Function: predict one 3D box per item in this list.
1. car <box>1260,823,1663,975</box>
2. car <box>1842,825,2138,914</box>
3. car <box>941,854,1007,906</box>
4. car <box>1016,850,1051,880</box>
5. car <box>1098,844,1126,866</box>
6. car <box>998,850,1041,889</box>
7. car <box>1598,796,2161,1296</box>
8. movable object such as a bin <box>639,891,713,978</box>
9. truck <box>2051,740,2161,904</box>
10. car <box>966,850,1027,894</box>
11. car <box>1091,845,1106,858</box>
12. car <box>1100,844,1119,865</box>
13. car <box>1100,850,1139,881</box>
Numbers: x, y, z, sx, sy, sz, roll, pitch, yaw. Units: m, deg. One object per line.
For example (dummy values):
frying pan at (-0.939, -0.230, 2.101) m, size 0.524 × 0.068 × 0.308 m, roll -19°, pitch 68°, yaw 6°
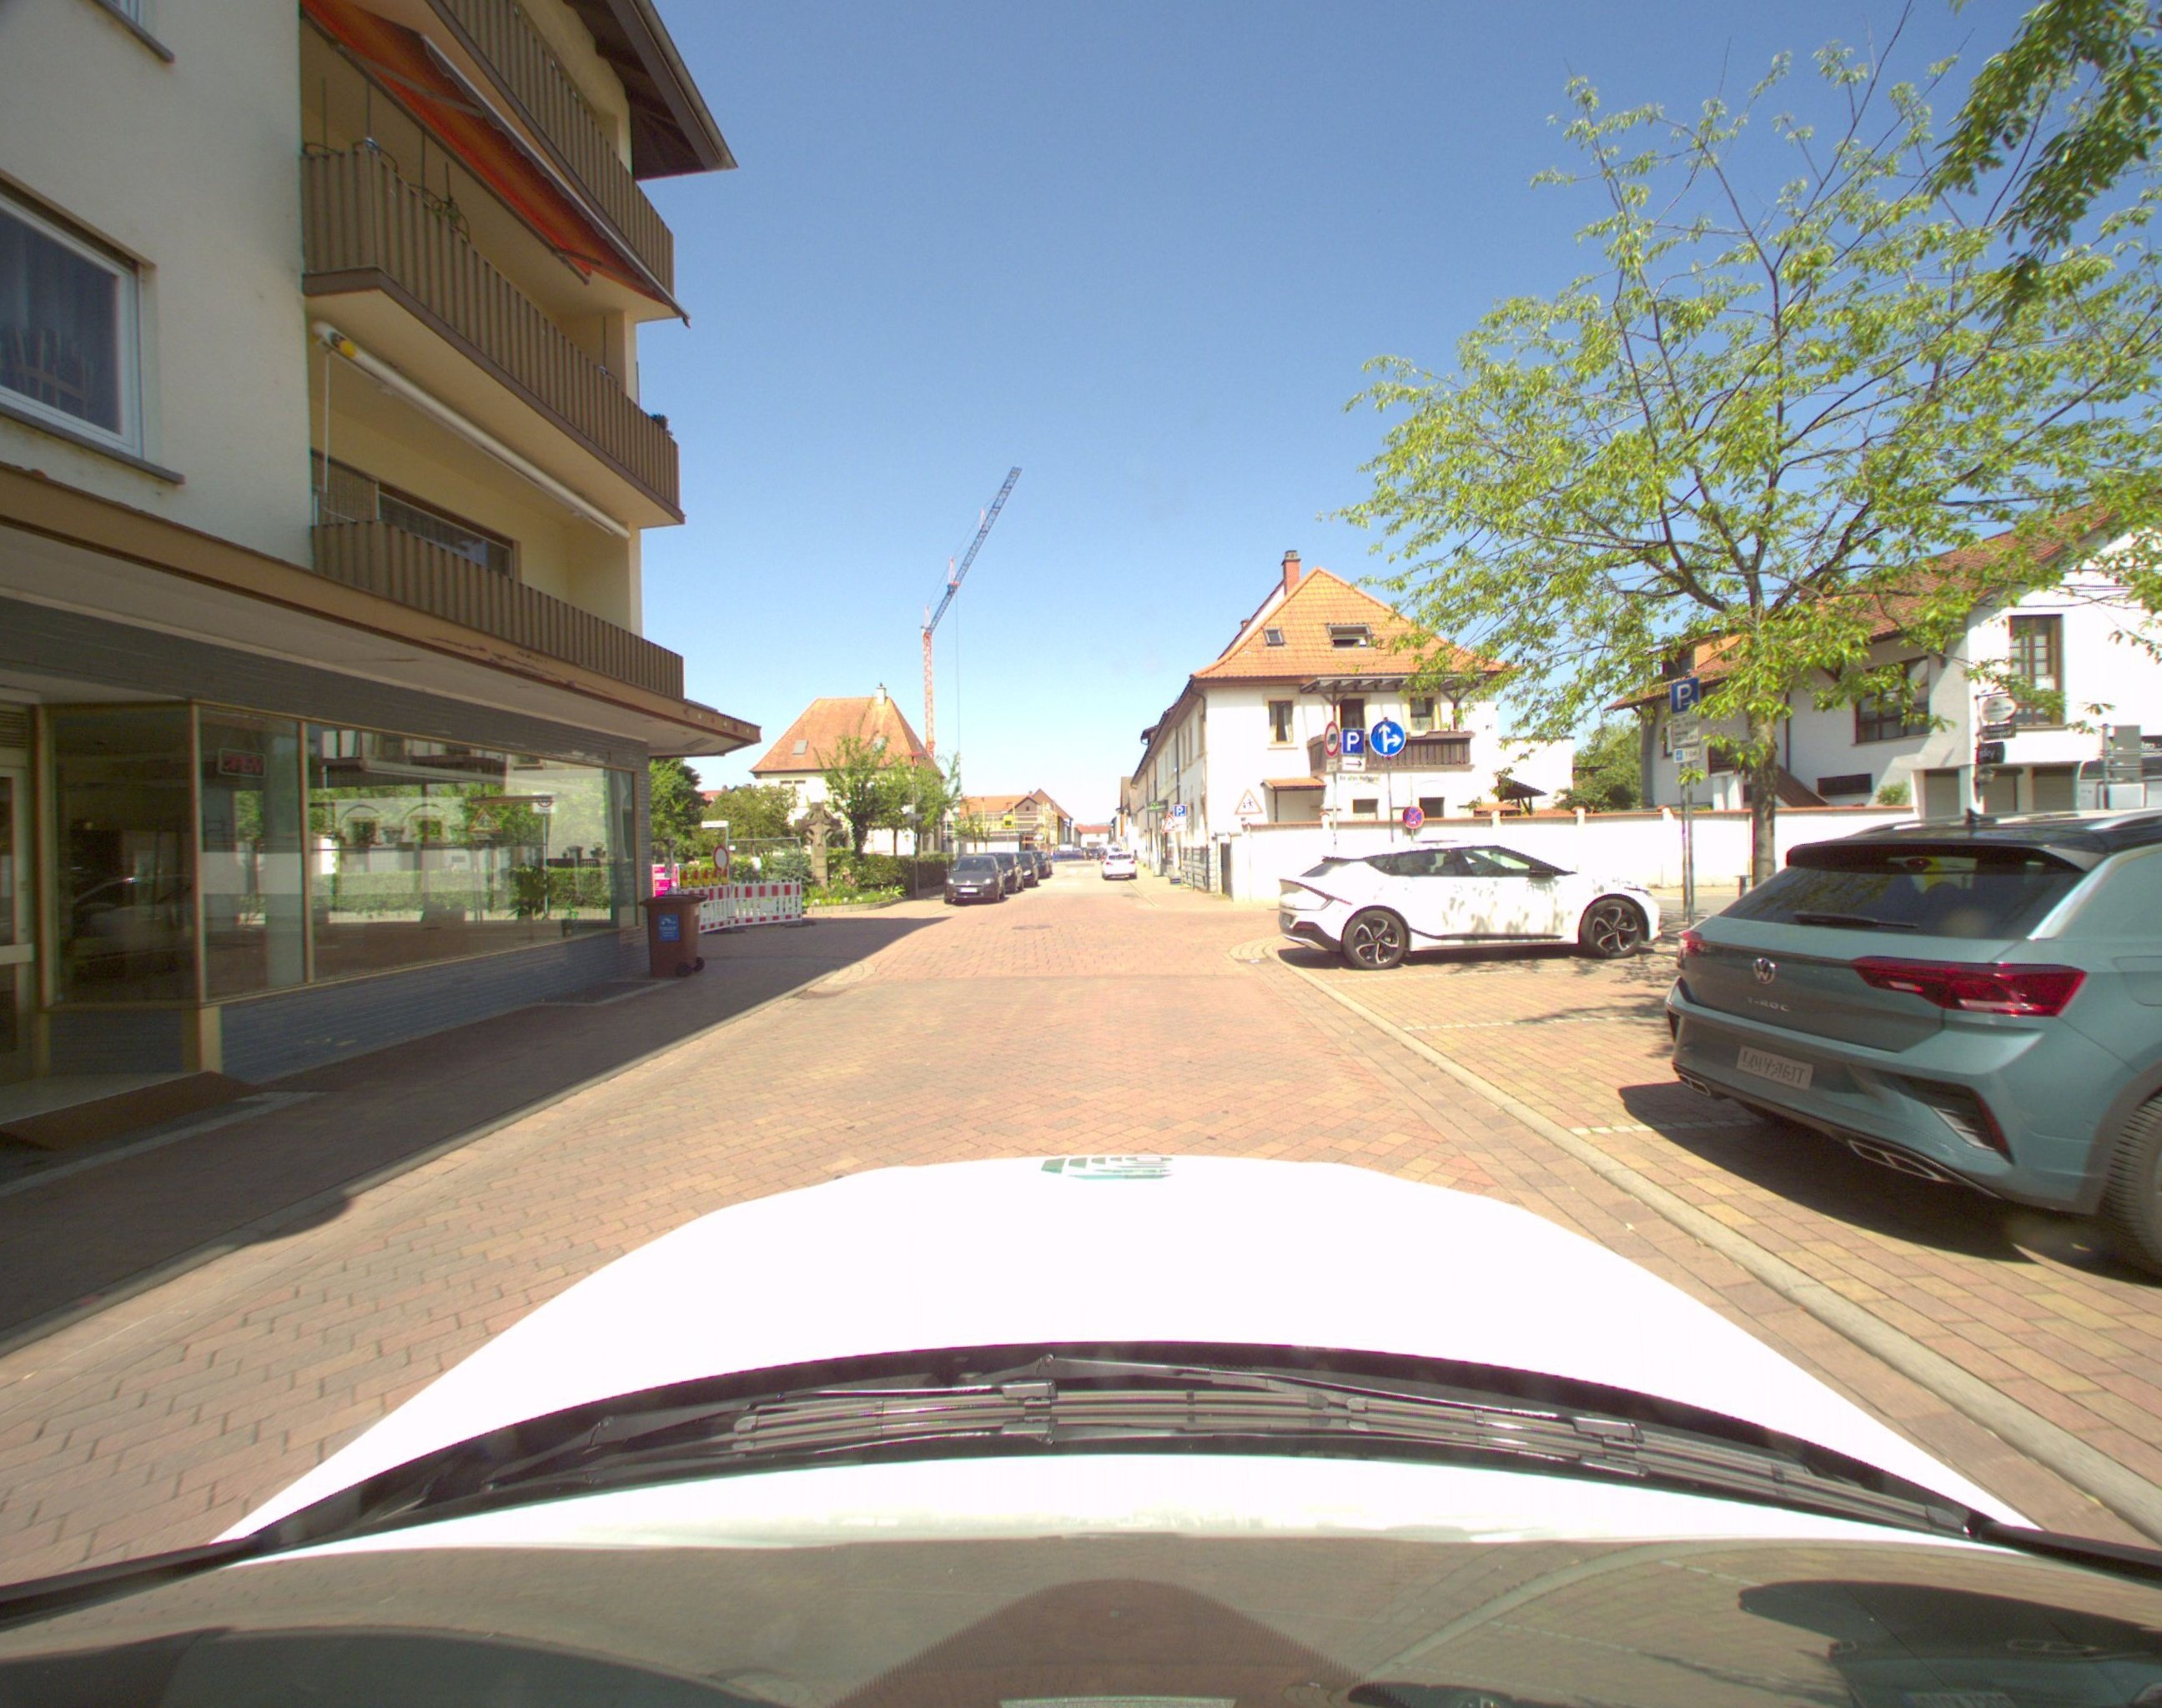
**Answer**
car at (4.792, 0.537, 10.726) m, size 4.426 × 1.576 × 1.789 m, roll -3°, pitch 0°, yaw 0°
car at (16.739, 0.256, 15.139) m, size 3.601 × 1.451 × 1.656 m, roll -2°, pitch 1°, yaw 2°
car at (-3.390, 0.772, 26.365) m, size 1.698 × 1.496 × 3.854 m, roll -1°, pitch 0°, yaw -2°
car at (-2.779, 0.632, 48.680) m, size 1.820 × 1.630 × 4.216 m, roll -1°, pitch 0°, yaw 0°
car at (2.417, 0.062, 64.787) m, size 1.879 × 1.556 × 3.892 m, roll -5°, pitch 1°, yaw -2°
car at (-2.793, 0.682, 37.895) m, size 1.632 × 1.628 × 3.768 m, roll -1°, pitch 1°, yaw 1°
car at (4.798, 0.522, 3.503) m, size 3.930 × 1.534 × 1.824 m, roll -3°, pitch 0°, yaw 1°
movable object such as a bin at (-5.321, 1.045, 10.732) m, size 0.654 × 1.070 × 0.663 m, roll -1°, pitch 0°, yaw -5°
truck at (23.026, -0.669, 15.284) m, size 6.358 × 3.005 × 2.547 m, roll -1°, pitch 0°, yaw 3°
car at (-3.269, 0.657, 32.225) m, size 1.808 × 1.605 × 4.027 m, roll -1°, pitch 0°, yaw 2°
car at (2.365, -0.321, 111.351) m, size 1.875 × 1.668 × 4.153 m, roll -1°, pitch 0°, yaw 0°
car at (2.452, 0.046, 69.970) m, size 1.558 × 1.613 × 3.544 m, roll -1°, pitch 3°, yaw 1°
car at (2.184, 0.587, 45.000) m, size 1.877 × 1.542 × 4.250 m, roll -1°, pitch 0°, yaw 6°
